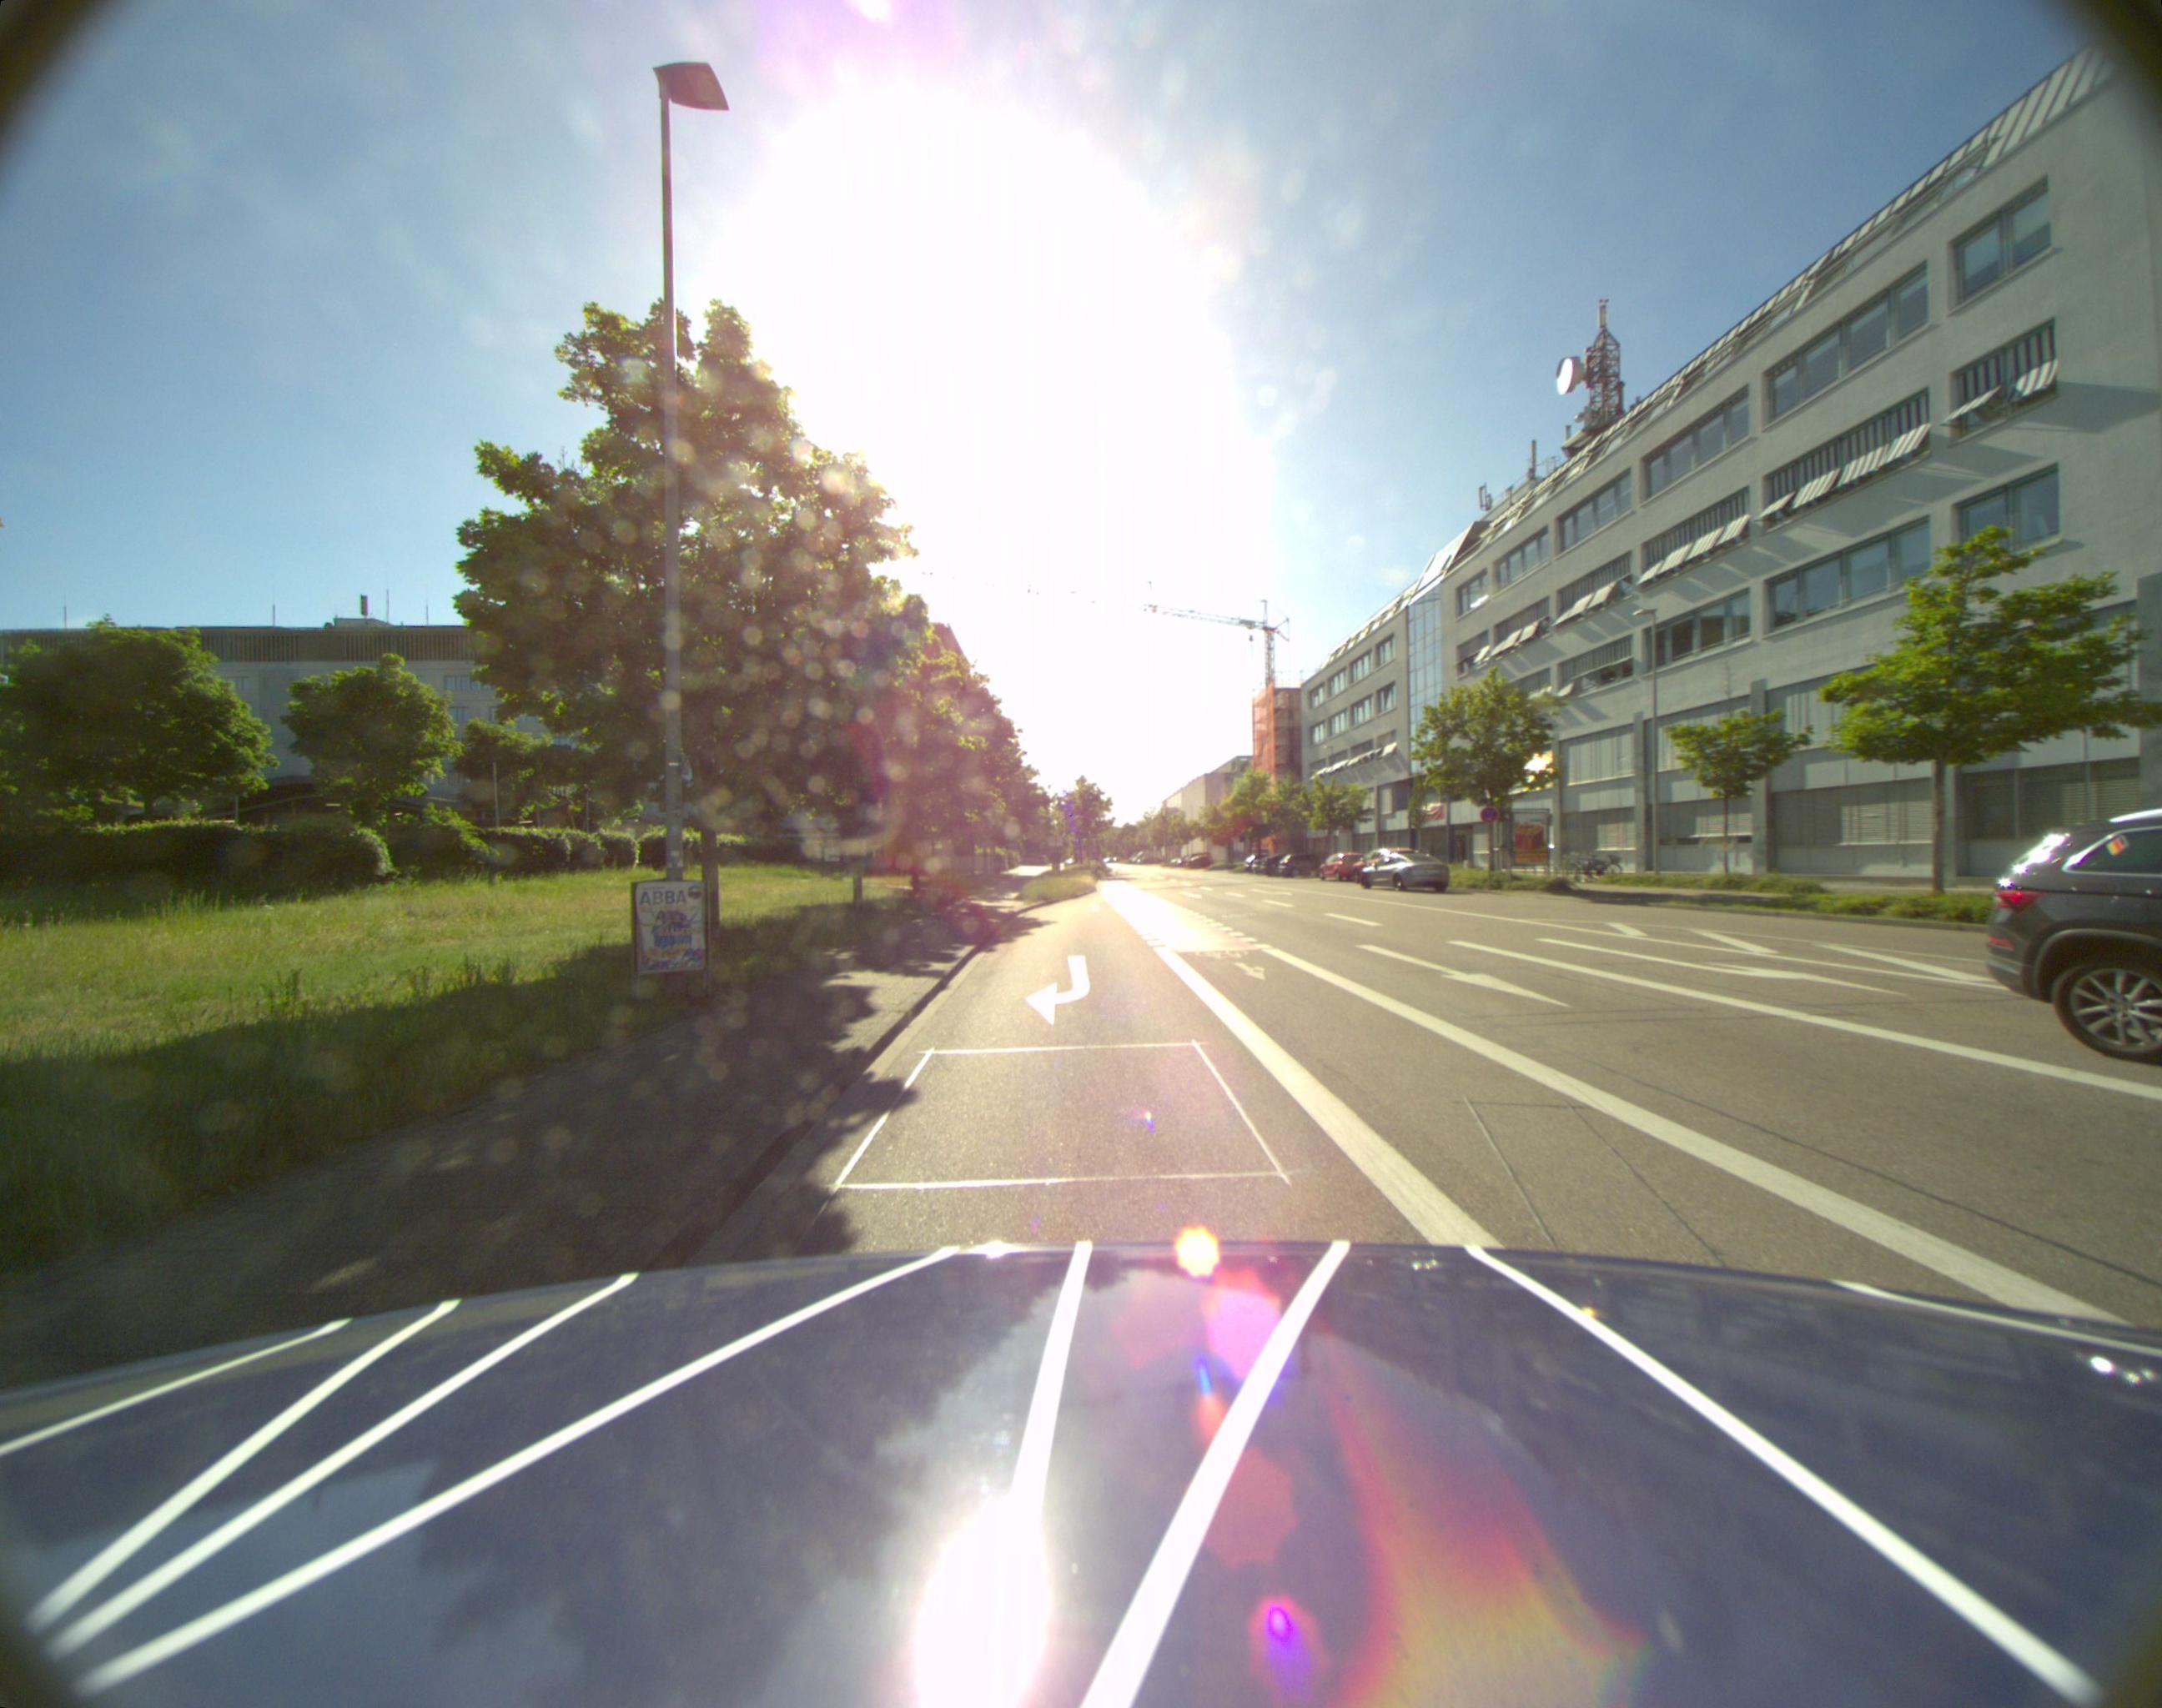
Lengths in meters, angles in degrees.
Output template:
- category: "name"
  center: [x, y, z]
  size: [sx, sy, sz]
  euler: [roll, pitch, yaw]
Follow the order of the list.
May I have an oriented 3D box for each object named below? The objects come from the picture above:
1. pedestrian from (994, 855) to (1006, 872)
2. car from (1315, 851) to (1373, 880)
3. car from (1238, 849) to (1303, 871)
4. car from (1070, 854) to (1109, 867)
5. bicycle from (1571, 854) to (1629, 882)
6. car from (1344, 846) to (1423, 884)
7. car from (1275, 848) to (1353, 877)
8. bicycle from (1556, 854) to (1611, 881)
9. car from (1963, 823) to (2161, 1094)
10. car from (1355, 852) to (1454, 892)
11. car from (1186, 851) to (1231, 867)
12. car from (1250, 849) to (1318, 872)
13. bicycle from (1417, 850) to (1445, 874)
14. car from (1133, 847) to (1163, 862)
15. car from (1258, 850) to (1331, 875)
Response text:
- category: "pedestrian"
  center: [-6.038, 0.718, 56.642]
  size: [0.847, 1.210, 0.728]
  euler: [0, 0, -13]
- category: "car"
  center: [14.099, 0.583, 40.929]
  size: [1.692, 1.423, 3.871]
  euler: [-3, 0, -1]
- category: "car"
  center: [14.433, 0.456, 57.885]
  size: [4.399, 1.423, 1.692]
  euler: [-3, 0, -9]
- category: "car"
  center: [0.989, 0.751, 86.526]
  size: [4.413, 1.454, 1.895]
  euler: [0, 0, -1]
- category: "bicycle"
  center: [20.150, 0.527, 29.524]
  size: [1.792, 1.063, 0.622]
  euler: [0, 1, 7]
- category: "car"
  center: [14.221, 0.486, 35.994]
  size: [1.693, 1.598, 4.309]
  euler: [-3, 0, -4]
- category: "car"
  center: [14.811, 0.534, 48.371]
  size: [4.398, 1.529, 1.693]
  euler: [-3, 0, -5]
- category: "bicycle"
  center: [20.019, 0.530, 30.288]
  size: [1.770, 1.063, 0.556]
  euler: [0, 1, 7]
- category: "car"
  center: [7.480, 0.615, 3.407]
  size: [1.758, 1.618, 4.477]
  euler: [-3, 0, -1]
- category: "car"
  center: [12.589, 0.659, 29.889]
  size: [1.693, 1.460, 4.545]
  euler: [0, 0, -4]
- category: "car"
  center: [13.715, 0.552, 81.913]
  size: [4.398, 1.423, 1.977]
  euler: [-3, 0, -4]
- category: "car"
  center: [14.832, 0.479, 55.607]
  size: [4.398, 1.423, 1.693]
  euler: [-3, 0, -4]
- category: "bicycle"
  center: [19.960, 0.424, 43.330]
  size: [0.710, 1.339, 2.233]
  euler: [0, 0, 5]
- category: "car"
  center: [13.019, 0.110, 147.121]
  size: [5.583, 2.468, 2.010]
  euler: [-3, 0, 1]
- category: "car"
  center: [14.419, 0.589, 51.416]
  size: [4.397, 1.423, 1.693]
  euler: [-3, 0, -4]
